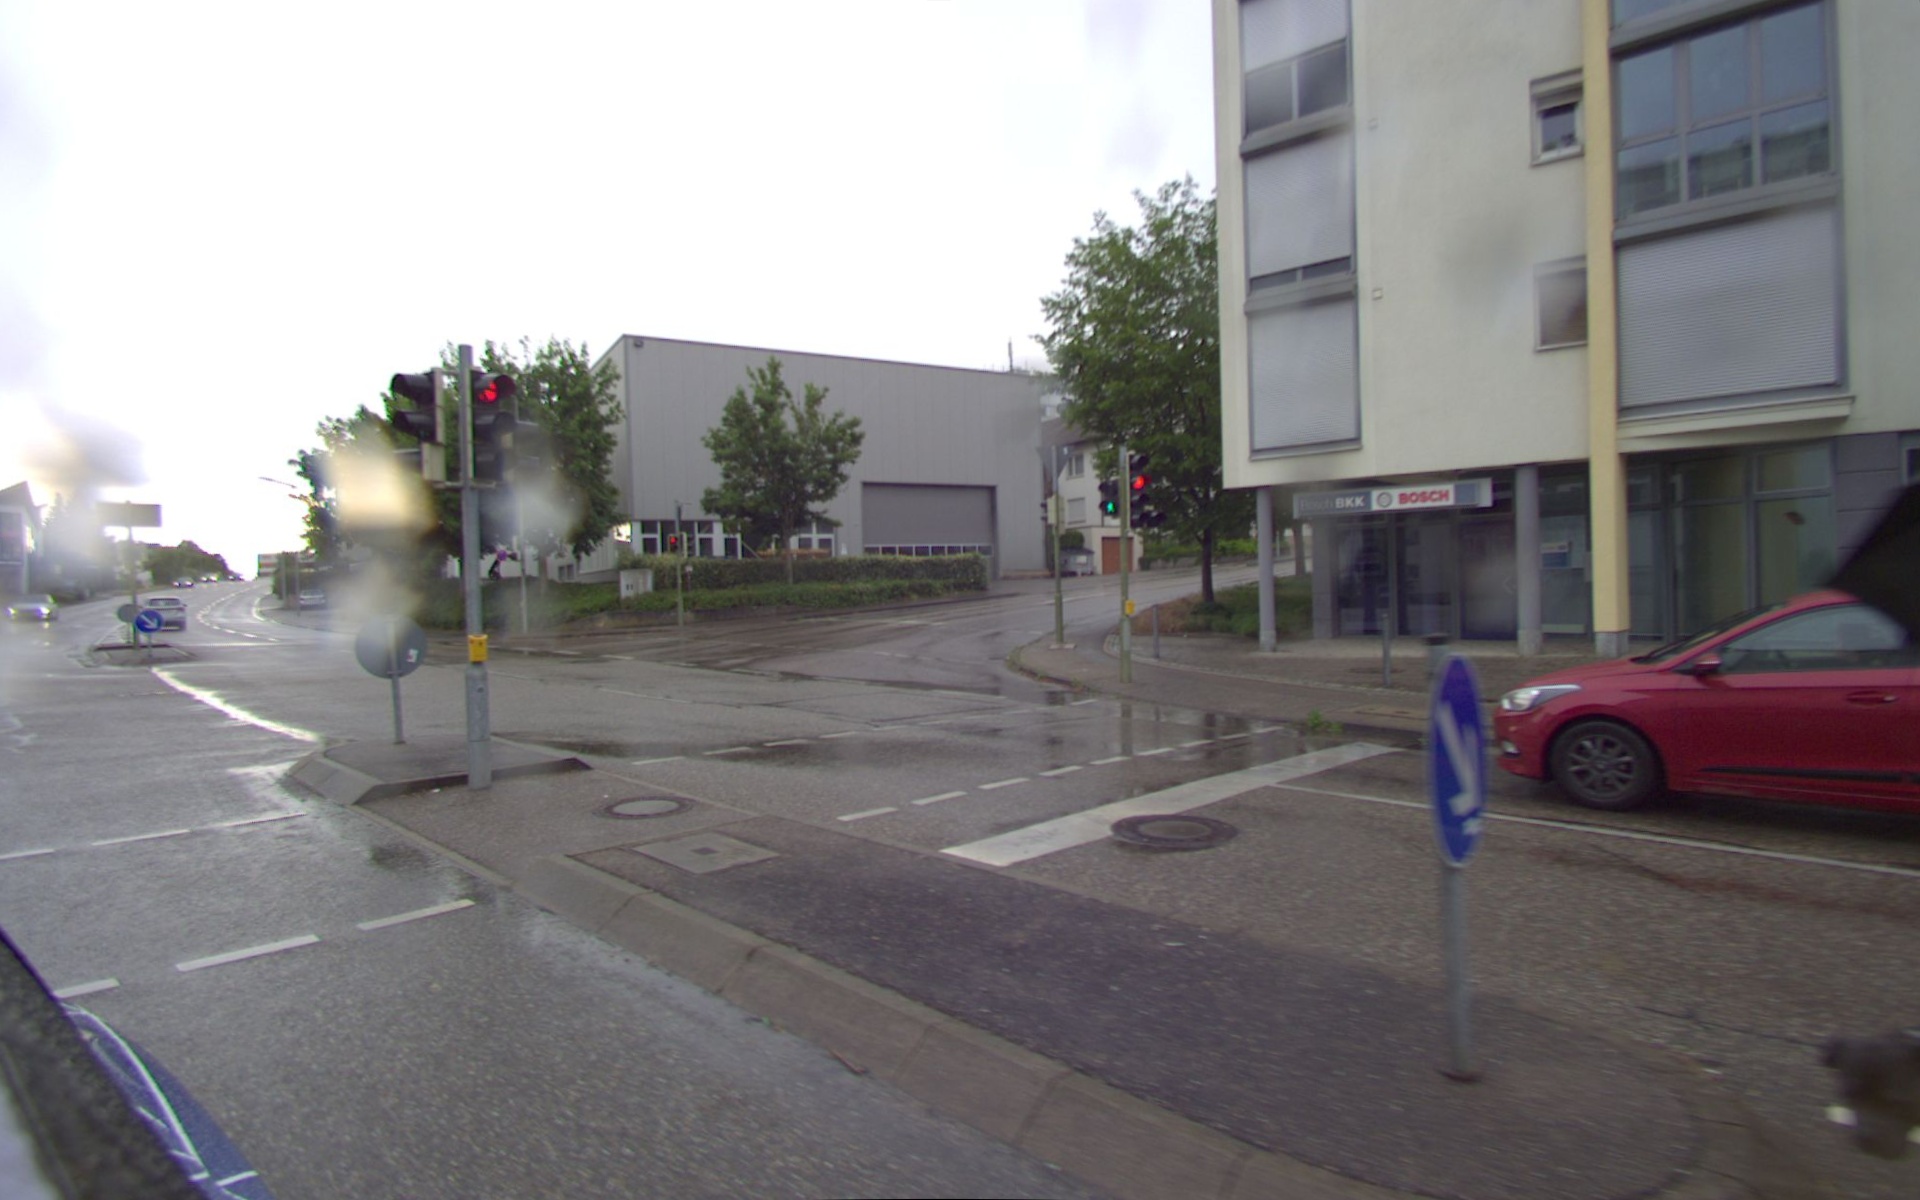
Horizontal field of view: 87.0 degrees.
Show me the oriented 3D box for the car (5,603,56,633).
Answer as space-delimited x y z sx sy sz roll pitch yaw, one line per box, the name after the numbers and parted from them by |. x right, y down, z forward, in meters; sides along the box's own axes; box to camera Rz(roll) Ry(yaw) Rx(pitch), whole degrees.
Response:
-54.422 1.027 59.311 1.870 1.556 4.028 -3 2 -39 | car

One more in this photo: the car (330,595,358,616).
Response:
-45.844 0.405 75.370 1.709 1.489 4.033 -3 2 -31 | car

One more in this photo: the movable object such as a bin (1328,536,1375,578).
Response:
13.890 -1.533 35.897 1.057 1.306 1.184 -8 -2 44 | movable object such as a bin

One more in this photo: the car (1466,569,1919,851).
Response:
5.615 0.607 6.267 1.755 1.518 4.106 1 -1 -45 | car

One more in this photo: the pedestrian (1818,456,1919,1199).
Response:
2.063 0.605 1.543 0.657 1.715 0.950 -3 1 -28 | pedestrian

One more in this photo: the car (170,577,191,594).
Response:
-104.634 -1.911 135.924 1.968 2.028 4.010 -7 4 -36 | car

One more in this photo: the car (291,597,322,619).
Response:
-47.577 0.556 73.701 1.709 1.489 4.033 -3 2 -31 | car

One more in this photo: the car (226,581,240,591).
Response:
-125.301 -2.450 174.414 1.800 1.699 4.010 -2 0 -35 | car

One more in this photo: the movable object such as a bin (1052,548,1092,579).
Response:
6.100 -1.983 55.131 1.562 1.546 1.453 -4 3 -31 | movable object such as a bin

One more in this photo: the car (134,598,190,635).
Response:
-37.764 0.756 47.873 1.669 1.566 3.911 -5 3 -43 | car
